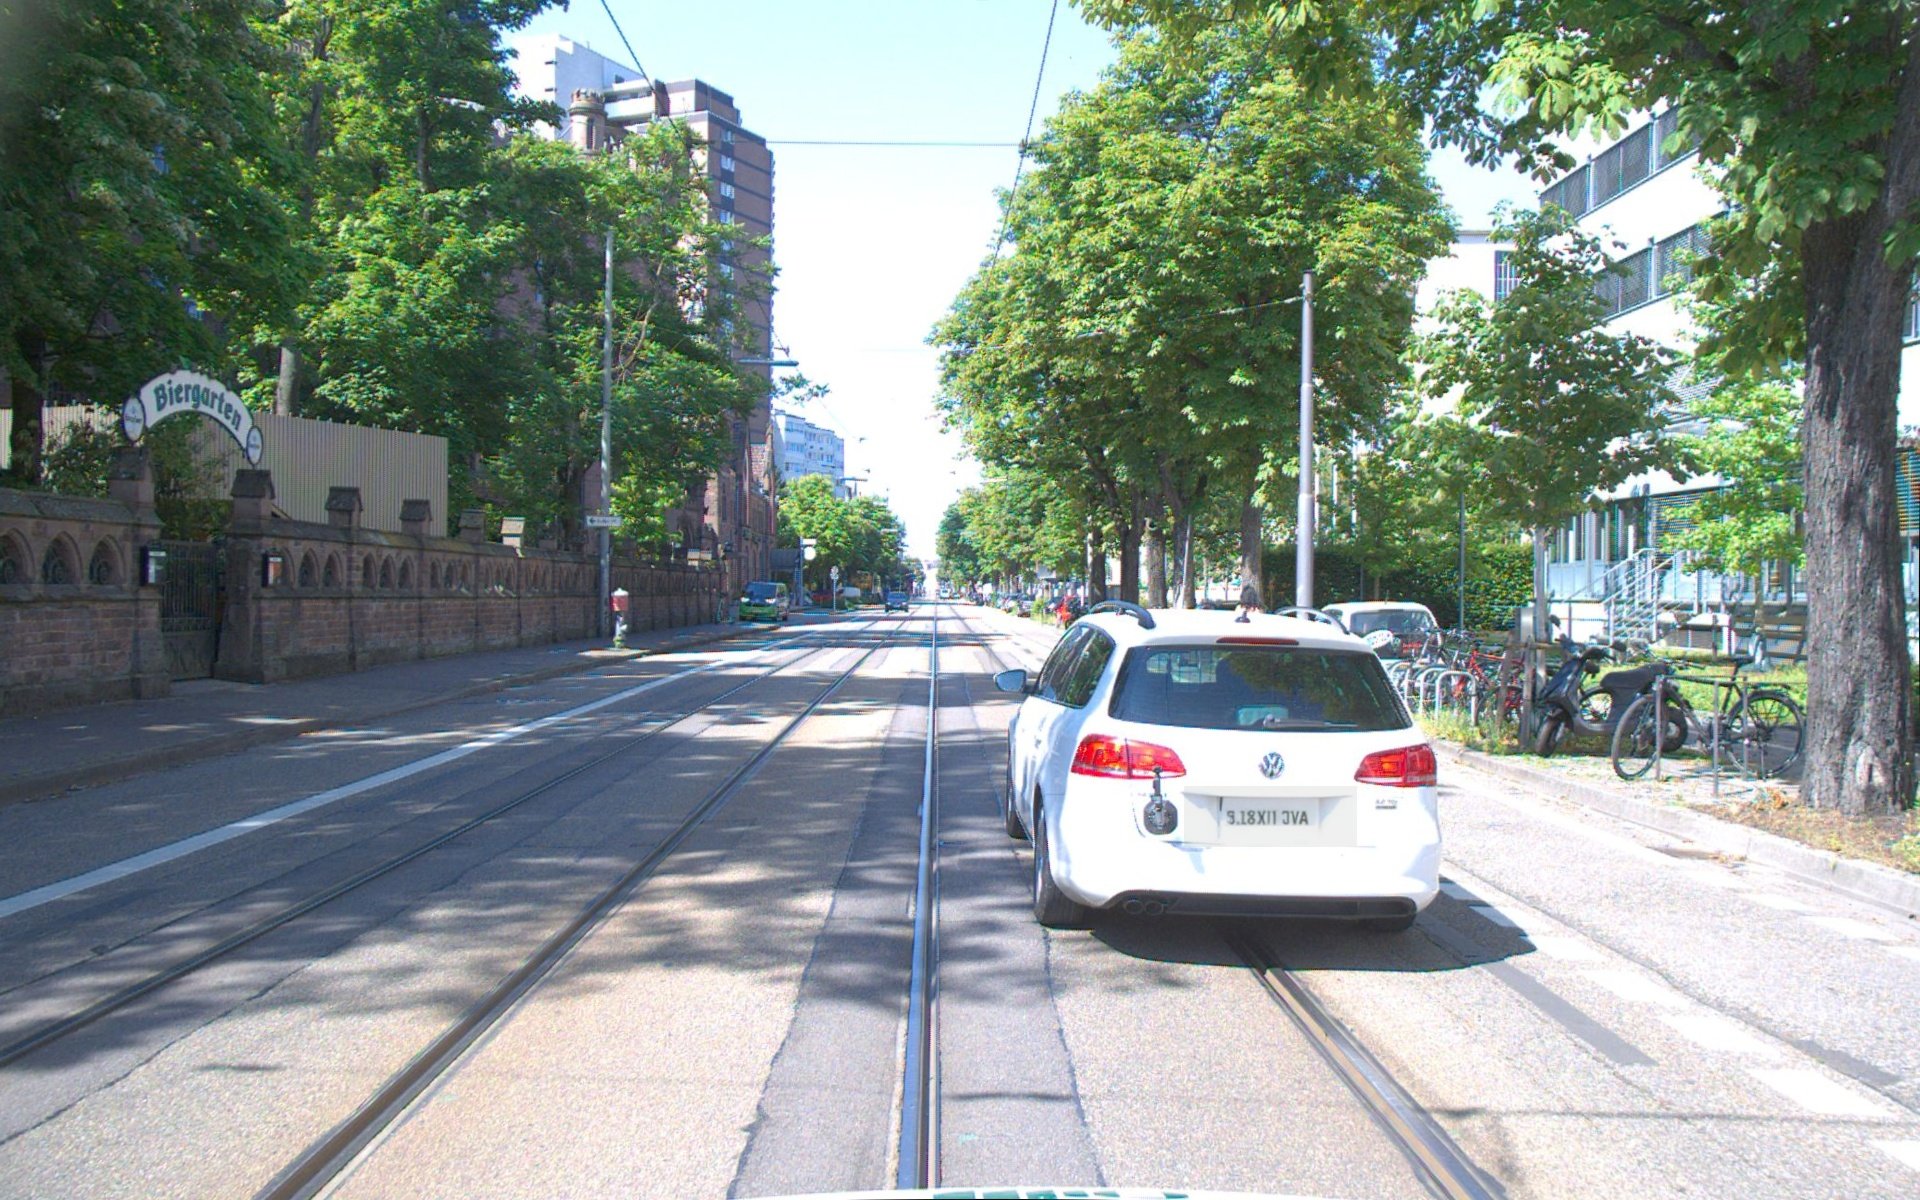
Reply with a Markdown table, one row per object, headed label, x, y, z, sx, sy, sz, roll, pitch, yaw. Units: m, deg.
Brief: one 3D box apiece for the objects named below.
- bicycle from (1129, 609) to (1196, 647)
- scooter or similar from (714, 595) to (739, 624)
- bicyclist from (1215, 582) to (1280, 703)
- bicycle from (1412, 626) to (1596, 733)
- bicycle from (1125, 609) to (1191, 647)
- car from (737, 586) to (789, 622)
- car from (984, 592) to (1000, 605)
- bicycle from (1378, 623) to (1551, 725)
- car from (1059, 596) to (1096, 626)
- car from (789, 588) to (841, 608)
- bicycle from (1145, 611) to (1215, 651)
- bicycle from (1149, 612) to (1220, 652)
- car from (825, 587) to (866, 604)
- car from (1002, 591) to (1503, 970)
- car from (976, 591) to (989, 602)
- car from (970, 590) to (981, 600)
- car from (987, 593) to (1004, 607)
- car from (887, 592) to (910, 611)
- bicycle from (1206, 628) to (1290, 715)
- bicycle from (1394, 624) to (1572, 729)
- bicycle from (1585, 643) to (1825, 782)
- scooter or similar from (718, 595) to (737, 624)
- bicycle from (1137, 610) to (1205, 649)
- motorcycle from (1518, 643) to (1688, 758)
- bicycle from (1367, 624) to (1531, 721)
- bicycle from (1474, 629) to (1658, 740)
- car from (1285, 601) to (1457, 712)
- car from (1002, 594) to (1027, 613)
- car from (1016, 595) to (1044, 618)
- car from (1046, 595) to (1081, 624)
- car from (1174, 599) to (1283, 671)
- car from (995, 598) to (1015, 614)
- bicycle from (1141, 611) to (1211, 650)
| label | x | y | z | sx | sy | sz | roll | pitch | yaw |
| --- | --- | --- | --- | --- | --- | --- | --- | --- | --- |
| bicycle | 5.533 | 0.772 | 45.243 | 1.752 | 1.028 | 0.487 | 0 | 0 | -6 |
| scooter or similar | -9.541 | 0.400 | 67.634 | 0.397 | 1.175 | 1.140 | 0 | 0 | 33 |
| bicyclist | 4.006 | 0.585 | 23.101 | 0.770 | 1.657 | 0.738 | 0 | 0 | -1 |
| bicycle | 6.147 | 0.894 | 18.721 | 1.874 | 1.101 | 0.550 | 2 | 0 | -4 |
| bicycle | 5.488 | 0.765 | 45.762 | 1.752 | 1.028 | 0.487 | 0 | 0 | -6 |
| car | -9.964 | 0.187 | 83.902 | 1.952 | 1.788 | 4.713 | 0 | 0 | 2 |
| car | 3.552 | -0.133 | 181.468 | 1.678 | 1.425 | 3.843 | 0 | 0 | 0 |
| bicycle | 6.068 | 0.887 | 19.931 | 1.874 | 1.101 | 0.550 | 3 | 0 | -4 |
| car | 5.356 | 0.485 | 75.745 | 1.677 | 1.303 | 3.845 | 0 | 0 | 3 |
| car | -12.497 | -0.184 | 142.861 | 4.060 | 1.557 | 1.920 | 2 | 0 | -22 |
| bicycle | 5.693 | 0.806 | 42.814 | 1.752 | 1.028 | 0.487 | 0 | 0 | -6 |
| bicycle | 5.732 | 0.814 | 42.231 | 1.752 | 1.028 | 0.487 | 0 | 0 | -6 |
| car | -12.176 | -0.468 | 176.142 | 3.956 | 1.847 | 1.974 | 0 | 0 | -37 |
| car | 1.213 | 0.719 | 8.711 | 1.718 | 1.467 | 4.411 | 1 | 0 | -2 |
| car | 2.865 | -0.416 | 211.828 | 1.678 | 1.425 | 3.843 | 0 | 0 | 0 |
| car | 2.264 | -0.796 | 245.544 | 1.678 | 1.425 | 3.843 | 0 | 0 | 0 |
| car | 3.637 | -0.045 | 170.235 | 1.678 | 1.425 | 3.843 | 0 | 0 | 0 |
| car | -4.451 | 0.102 | 120.019 | 1.462 | 1.409 | 3.642 | 0 | 0 | 0 |
| bicycle | 3.981 | 0.968 | 22.970 | 0.794 | 1.097 | 2.012 | 1 | 0 | 0 |
| bicycle | 6.098 | 0.884 | 19.319 | 1.874 | 1.101 | 0.550 | 3 | 0 | -4 |
| bicycle | 6.164 | 0.917 | 13.725 | 1.739 | 1.102 | 0.596 | 0 | 0 | -4 |
| scooter or similar | -9.949 | 0.401 | 70.900 | 0.413 | 1.221 | 1.144 | 0 | 0 | 14 |
| bicycle | 5.607 | 0.789 | 43.972 | 1.752 | 1.028 | 0.487 | 0 | 0 | -6 |
| motorcycle | 6.162 | 0.953 | 15.877 | 1.436 | 1.064 | 0.534 | 0 | 0 | -4 |
| bicycle | 6.074 | 0.900 | 20.573 | 1.848 | 1.101 | 0.550 | 3 | 0 | -4 |
| bicycle | 6.389 | 0.880 | 17.477 | 1.739 | 1.139 | 0.596 | 0 | 0 | -4 |
| car | 5.964 | 0.766 | 24.425 | 1.558 | 1.476 | 3.946 | 0 | 0 | 0 |
| car | 4.084 | 0.281 | 125.007 | 1.678 | 1.425 | 3.842 | 0 | 0 | -1 |
| car | 4.503 | 0.412 | 107.166 | 1.678 | 1.425 | 3.843 | 0 | 0 | 0 |
| car | 5.341 | 0.484 | 85.638 | 1.678 | 1.425 | 3.843 | 0 | 0 | 1 |
| car | 5.849 | 0.726 | 36.525 | 1.630 | 1.469 | 4.633 | 0 | 0 | 0 |
| car | 4.083 | 0.528 | 150.487 | 1.678 | 1.425 | 3.843 | 0 | 0 | 0 |
| bicycle | 5.660 | 0.798 | 43.390 | 1.752 | 1.028 | 0.487 | 0 | 0 | -6 |
